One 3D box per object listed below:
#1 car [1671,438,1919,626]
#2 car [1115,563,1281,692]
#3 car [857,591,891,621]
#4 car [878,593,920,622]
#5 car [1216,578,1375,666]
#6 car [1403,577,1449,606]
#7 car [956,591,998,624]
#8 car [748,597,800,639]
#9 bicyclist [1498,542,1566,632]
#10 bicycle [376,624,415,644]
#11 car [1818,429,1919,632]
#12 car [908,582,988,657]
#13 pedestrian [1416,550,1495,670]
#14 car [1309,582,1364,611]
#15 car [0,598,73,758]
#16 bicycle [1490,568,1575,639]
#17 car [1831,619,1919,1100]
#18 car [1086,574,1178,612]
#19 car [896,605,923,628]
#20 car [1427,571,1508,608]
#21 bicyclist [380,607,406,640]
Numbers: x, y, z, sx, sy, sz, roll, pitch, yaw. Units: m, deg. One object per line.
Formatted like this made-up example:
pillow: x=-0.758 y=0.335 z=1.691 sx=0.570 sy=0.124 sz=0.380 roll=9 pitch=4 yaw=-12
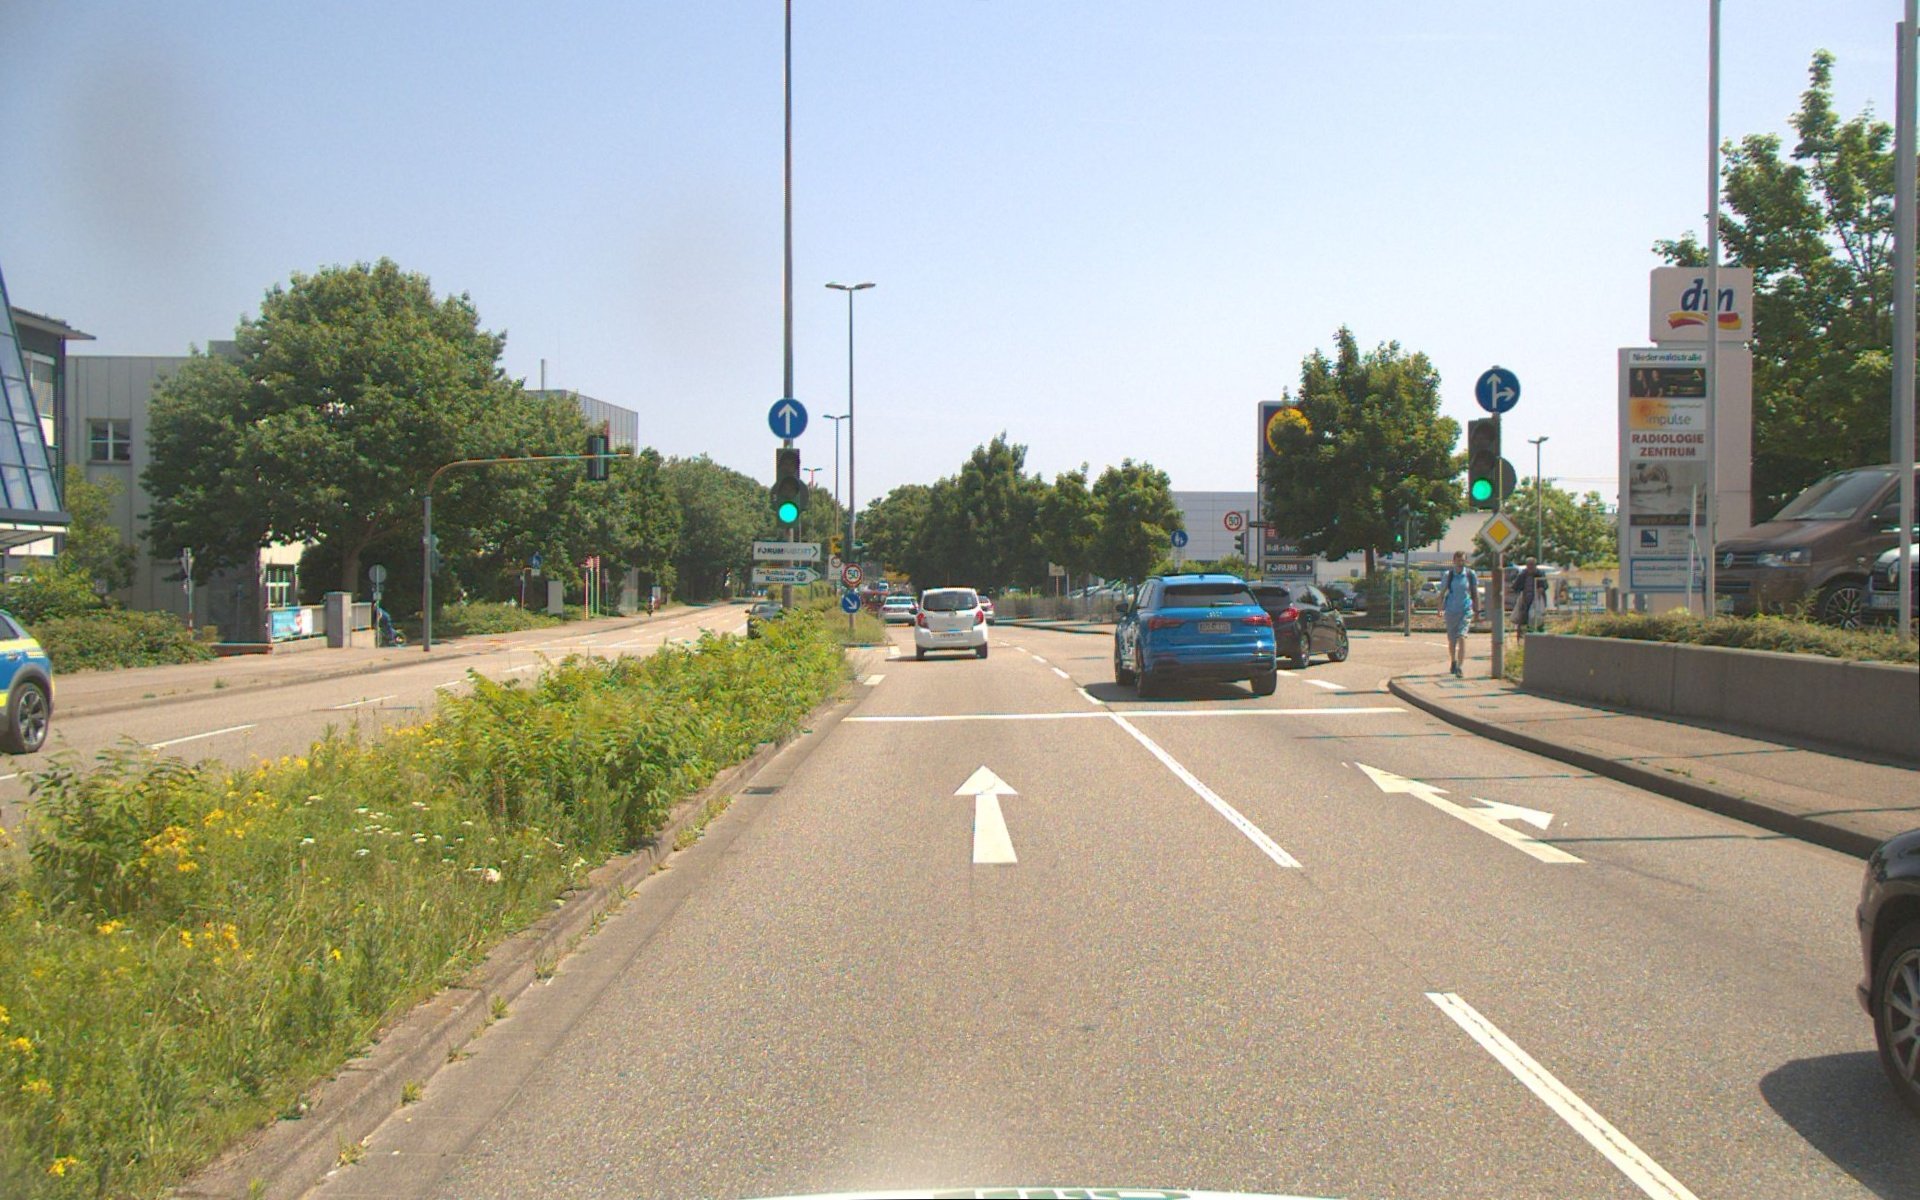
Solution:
car: x=10.504 y=-0.640 z=17.950 sx=4.600 sy=1.829 sz=2.182 roll=2 pitch=0 yaw=-2
car: x=3.240 y=0.335 z=23.260 sx=1.771 sy=1.620 sz=4.350 roll=-1 pitch=0 yaw=1
car: x=-4.879 y=0.334 z=93.792 sx=1.847 sy=1.636 sz=3.998 roll=-1 pitch=0 yaw=-2
car: x=-2.977 y=0.357 z=80.403 sx=1.848 sy=1.378 sz=3.996 roll=1 pitch=0 yaw=-5
car: x=5.900 y=0.354 z=28.837 sx=1.587 sy=1.425 sz=3.422 roll=-1 pitch=0 yaw=33
car: x=24.268 y=-0.418 z=86.167 sx=1.241 sy=1.445 sz=2.953 roll=-2 pitch=0 yaw=-7
car: x=0.801 y=0.359 z=79.465 sx=1.828 sy=1.499 sz=3.998 roll=1 pitch=0 yaw=-2
car: x=-6.395 y=0.613 z=56.881 sx=1.696 sy=1.347 sz=4.143 roll=-1 pitch=0 yaw=-7
bicyclist: x=9.720 y=-0.213 z=28.145 sx=0.758 sy=1.490 sz=1.090 roll=1 pitch=0 yaw=-1
bicycle: x=-23.232 y=1.389 z=68.132 sx=1.402 sy=0.750 sz=0.594 roll=-1 pitch=0 yaw=-39
car: x=10.494 y=-0.516 z=15.043 sx=4.320 sy=1.729 sz=1.999 roll=3 pitch=-1 yaw=-1
car: x=-0.306 y=0.425 z=37.072 sx=1.606 sy=1.579 sz=3.323 roll=-1 pitch=0 yaw=-3
pedestrian: x=6.986 y=0.148 z=23.370 sx=0.811 sy=1.654 sz=1.005 roll=1 pitch=-2 yaw=-1
car: x=18.808 y=-0.174 z=82.740 sx=1.590 sy=1.418 sz=3.712 roll=-1 pitch=0 yaw=-6
car: x=-10.411 y=0.801 z=15.728 sx=1.857 sy=1.587 sz=4.283 roll=-2 pitch=0 yaw=-4
bicycle: x=9.722 y=0.064 z=28.144 sx=0.742 sy=1.152 sz=1.907 roll=1 pitch=0 yaw=-1
car: x=3.621 y=0.776 z=3.512 sx=1.604 sy=1.380 sz=3.498 roll=2 pitch=0 yaw=-2
car: x=8.965 y=-0.362 z=86.412 sx=4.527 sy=1.958 sz=1.825 roll=0 pitch=0 yaw=-6
car: x=-3.319 y=1.069 z=107.861 sx=1.414 sy=1.372 sz=3.454 roll=-1 pitch=0 yaw=-7
car: x=20.922 y=-0.400 z=68.306 sx=1.702 sy=1.418 sz=4.075 roll=-2 pitch=-1 yaw=-6
bicyclist: x=-23.337 y=0.966 z=68.084 sx=0.839 sy=1.339 sz=0.651 roll=-1 pitch=0 yaw=-37
